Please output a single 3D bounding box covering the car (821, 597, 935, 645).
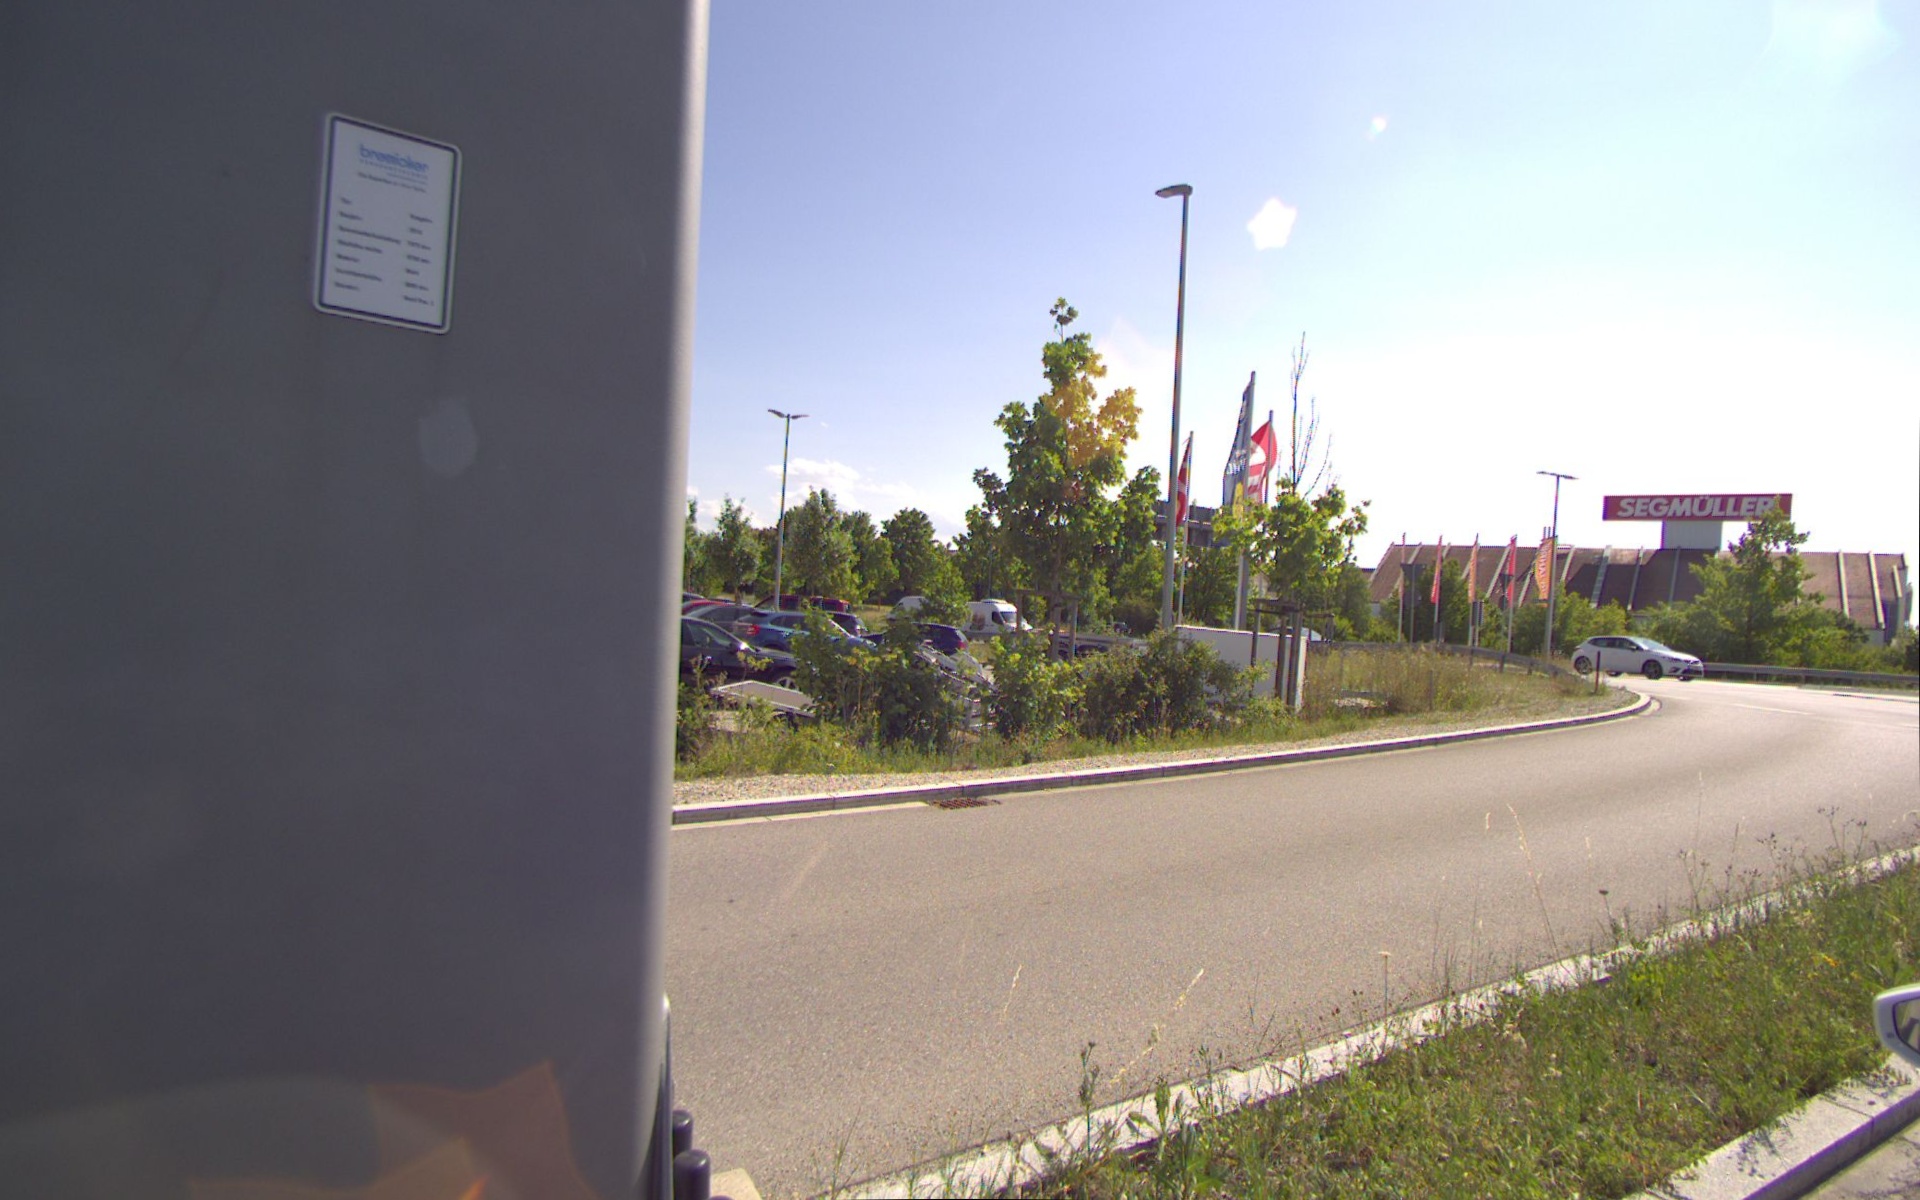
[{"bbox_3d":[-2.940,0.755,36.684,3.921,1.483,1.825,3,1,1],"label":"car"}]

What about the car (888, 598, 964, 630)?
[{"bbox_3d":[-2.852,1.156,82.851,6.169,2.264,2.033,4,1,35],"label":"car"}]

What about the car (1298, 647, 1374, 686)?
[{"bbox_3d":[15.414,2.707,41.372,1.643,1.198,3.865,3,1,0],"label":"car"}]

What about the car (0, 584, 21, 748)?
[{"bbox_3d":[-11.284,0.530,10.070,3.930,1.556,1.715,4,1,31],"label":"car"}]

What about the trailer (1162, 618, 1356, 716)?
[{"bbox_3d":[6.292,1.335,21.142,3.628,1.795,1.805,1,0,26],"label":"trailer"}]

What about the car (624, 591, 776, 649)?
[{"bbox_3d":[-7.614,0.595,29.452,3.952,1.483,1.811,3,1,-30],"label":"car"}]

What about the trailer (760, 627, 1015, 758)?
[{"bbox_3d":[-1.176,1.388,16.161,3.628,1.470,1.706,7,2,26],"label":"trailer"}]

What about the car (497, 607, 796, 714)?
[{"bbox_3d":[-5.171,0.973,16.697,4.443,1.503,1.789,2,1,-30],"label":"car"}]

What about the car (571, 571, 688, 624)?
[{"bbox_3d":[-14.050,-0.089,42.766,4.304,2.040,1.886,3,1,-34],"label":"car"}]

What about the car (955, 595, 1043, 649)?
[{"bbox_3d":[2.320,1.302,62.214,2.064,2.960,6.078,2,1,-35],"label":"car"}]

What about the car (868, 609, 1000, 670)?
[{"bbox_3d":[-0.771,1.204,31.478,3.921,1.483,1.825,5,1,1],"label":"car"}]

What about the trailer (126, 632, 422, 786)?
[{"bbox_3d":[-6.704,0.966,9.786,2.726,1.100,1.318,4,1,30],"label":"trailer"}]

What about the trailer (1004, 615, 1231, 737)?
[{"bbox_3d":[2.852,1.289,18.226,3.628,1.795,1.805,3,1,26],"label":"trailer"}]

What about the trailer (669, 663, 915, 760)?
[{"bbox_3d":[-2.304,1.468,13.888,2.785,0.893,1.864,4,1,28],"label":"trailer"}]

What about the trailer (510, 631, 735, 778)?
[{"bbox_3d":[-4.086,1.144,11.986,2.872,1.340,1.381,4,1,45],"label":"trailer"}]

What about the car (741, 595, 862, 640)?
[{"bbox_3d":[-6.188,0.667,39.501,4.367,1.483,1.825,3,1,1],"label":"car"}]

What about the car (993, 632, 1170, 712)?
[{"bbox_3d":[2.791,1.623,22.955,3.703,1.572,1.728,3,1,-32],"label":"car"}]

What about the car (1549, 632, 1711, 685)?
[{"bbox_3d":[23.169,1.996,34.920,1.767,1.424,4.390,3,1,-24],"label":"car"}]

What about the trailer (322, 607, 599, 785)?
[{"bbox_3d":[-5.530,0.926,11.008,3.142,1.503,1.541,4,1,40],"label":"trailer"}]

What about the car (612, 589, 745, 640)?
[{"bbox_3d":[-9.405,0.498,33.632,3.952,1.483,1.811,3,1,-30],"label":"car"}]

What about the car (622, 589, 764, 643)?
[{"bbox_3d":[-8.377,0.498,31.564,3.952,1.483,1.811,3,1,-30],"label":"car"}]

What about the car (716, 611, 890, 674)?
[{"bbox_3d":[-3.957,1.082,25.557,3.960,1.483,1.808,3,-1,-35],"label":"car"}]
